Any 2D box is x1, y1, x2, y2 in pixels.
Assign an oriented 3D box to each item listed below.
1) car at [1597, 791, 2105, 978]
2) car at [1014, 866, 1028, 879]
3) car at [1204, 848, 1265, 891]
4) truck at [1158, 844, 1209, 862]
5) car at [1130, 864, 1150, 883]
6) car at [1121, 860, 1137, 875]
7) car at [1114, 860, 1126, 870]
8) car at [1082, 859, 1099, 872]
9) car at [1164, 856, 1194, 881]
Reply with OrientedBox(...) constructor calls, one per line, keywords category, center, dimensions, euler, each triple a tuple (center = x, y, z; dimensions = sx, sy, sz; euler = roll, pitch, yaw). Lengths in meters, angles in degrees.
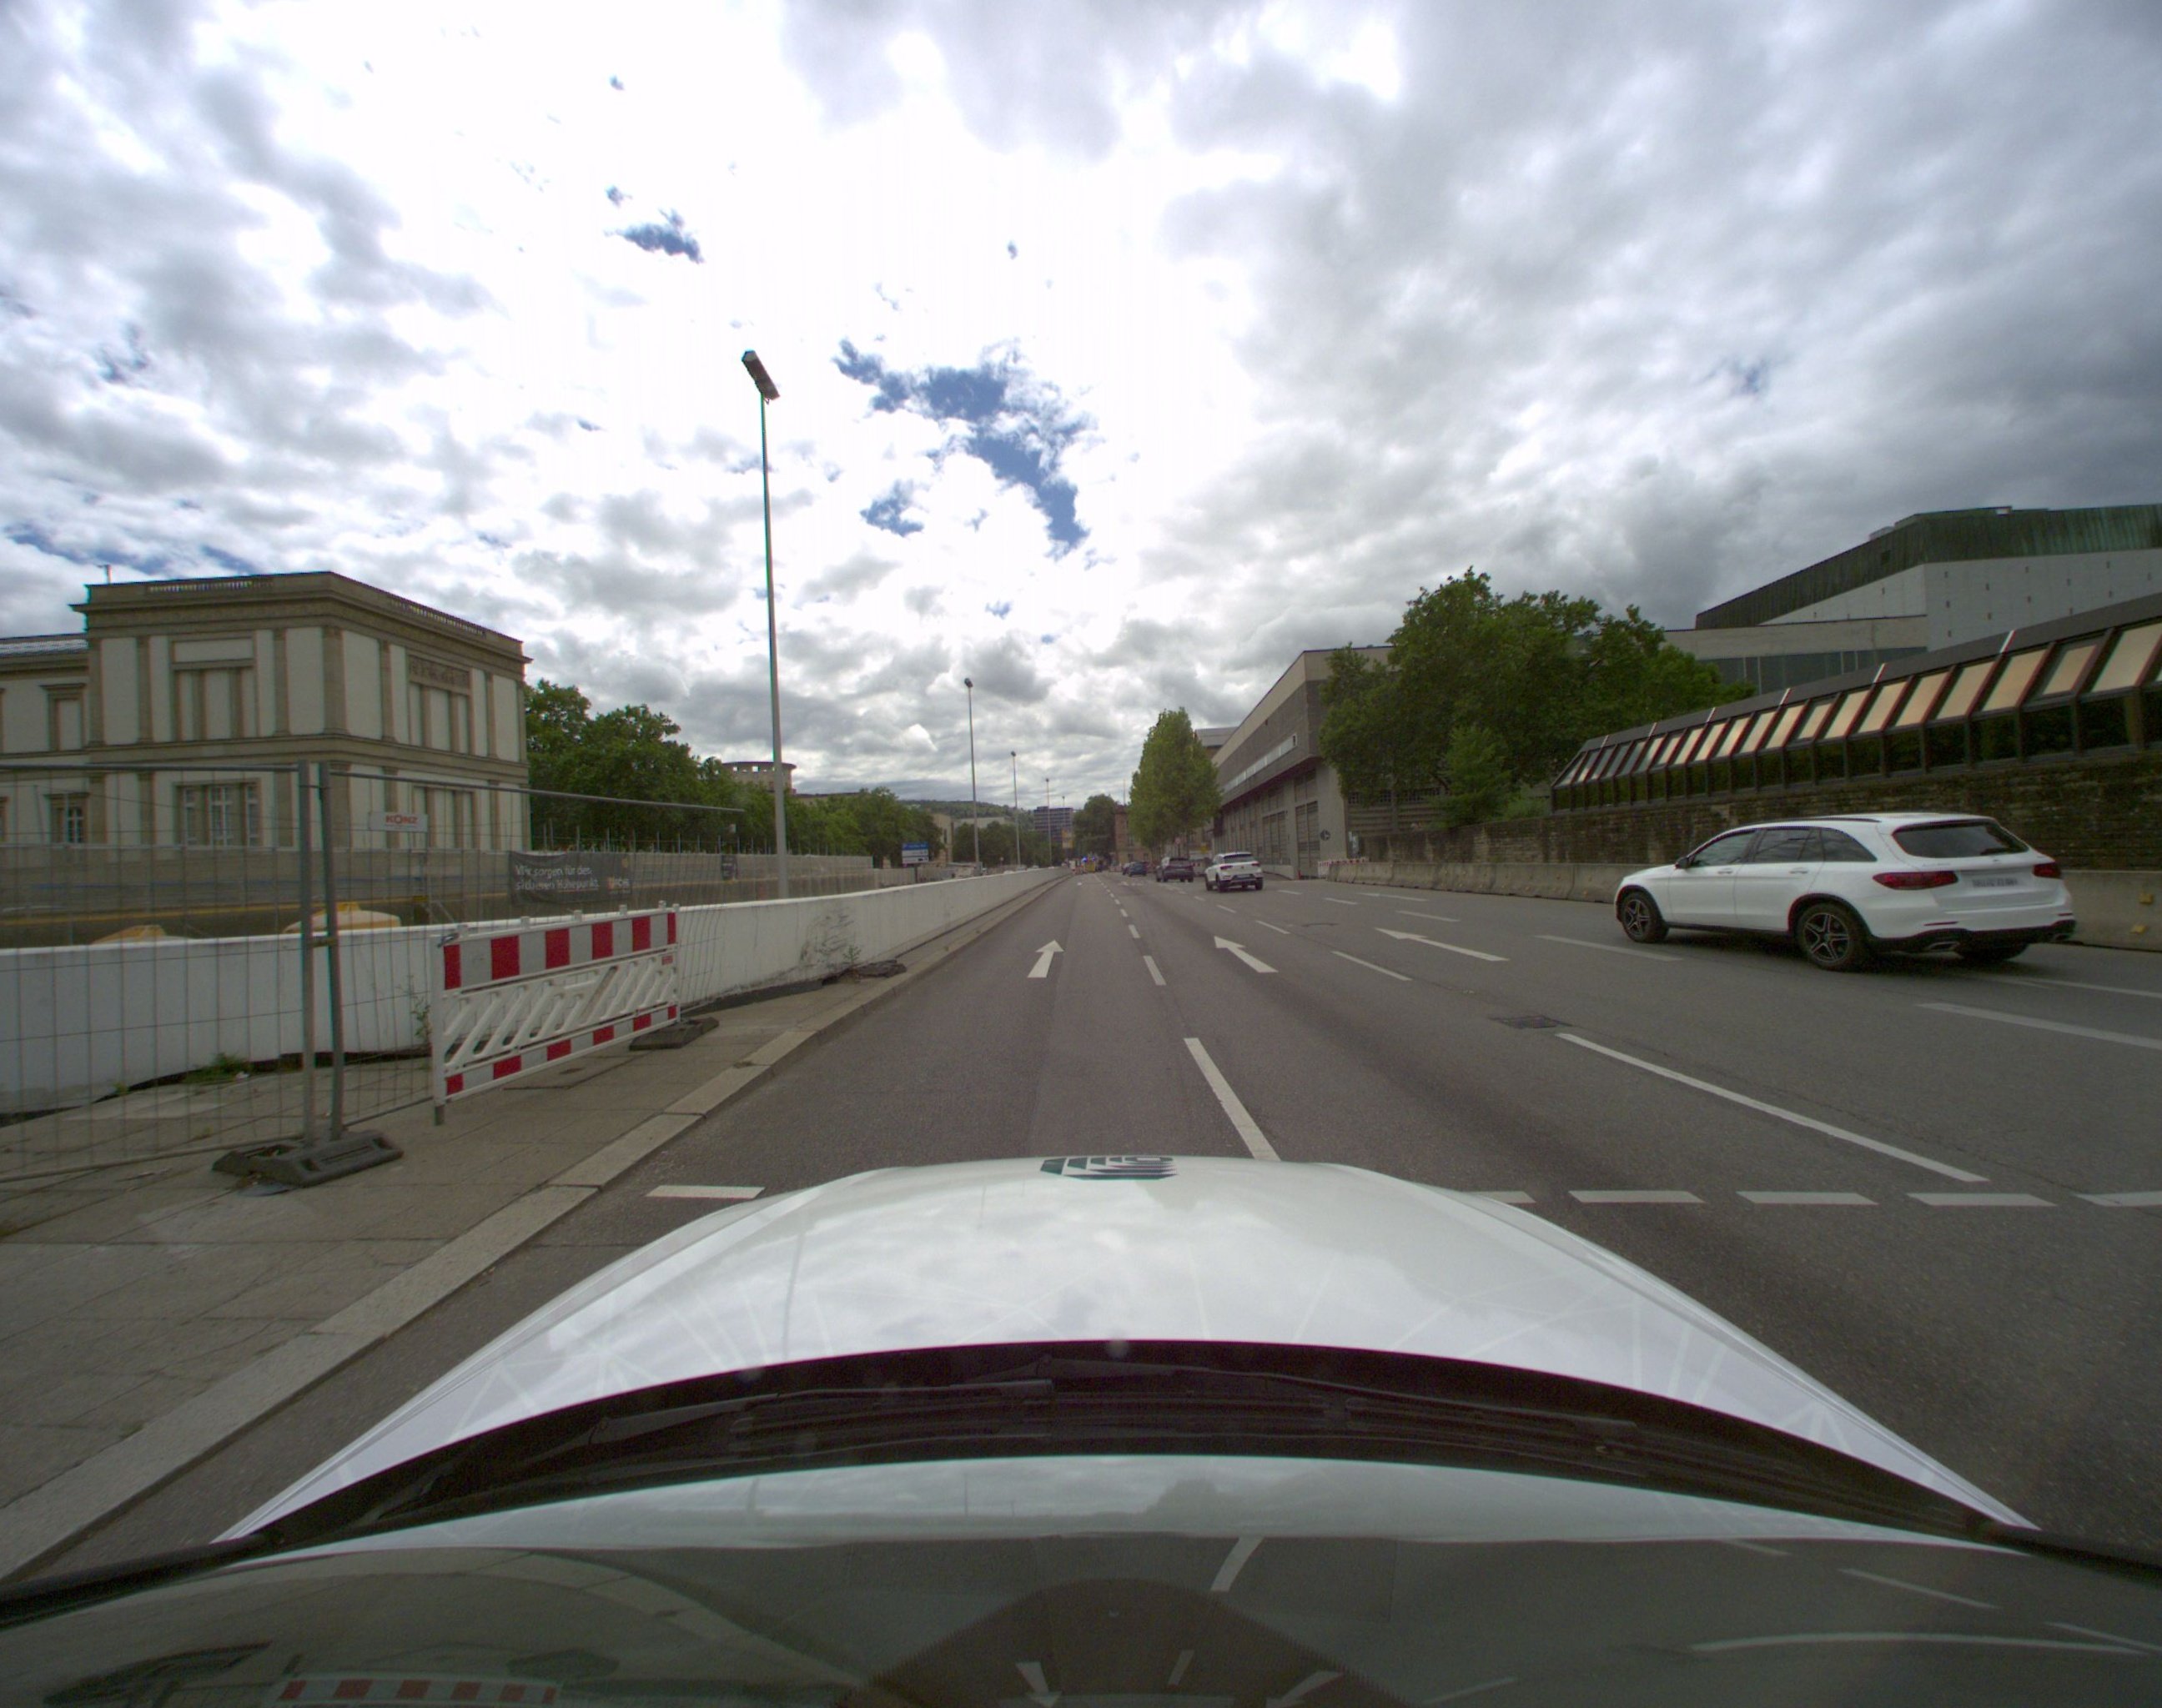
OrientedBox(category="car", center=(8.702, 0.293, 9.950), dimensions=(1.806, 1.642, 4.550), euler=(-4, 0, -1))
OrientedBox(category="car", center=(-9.992, 3.072, 135.563), dimensions=(1.987, 2.013, 4.000), euler=(-3, 0, 0))
OrientedBox(category="car", center=(6.335, 0.627, 34.064), dimensions=(1.744, 1.567, 4.333), euler=(-4, 0, 2))
OrientedBox(category="truck", center=(20.862, -0.223, 166.348), dimensions=(9.993, 3.051, 2.569), euler=(-3, -2, 1))
OrientedBox(category="car", center=(5.920, 1.963, 81.694), dimensions=(1.814, 1.740, 4.486), euler=(-4, -1, 5))
OrientedBox(category="car", center=(6.113, 1.655, 103.266), dimensions=(1.814, 1.740, 4.486), euler=(-4, -1, 5))
OrientedBox(category="car", center=(7.087, 1.948, 147.776), dimensions=(1.814, 1.740, 4.486), euler=(-4, -1, 5))
OrientedBox(category="car", center=(1.806, 2.147, 153.406), dimensions=(2.570, 2.374, 5.534), euler=(-4, -1, 5))
OrientedBox(category="car", center=(6.454, 1.019, 53.958), dimensions=(1.815, 1.568, 4.485), euler=(-1, -2, 5))
